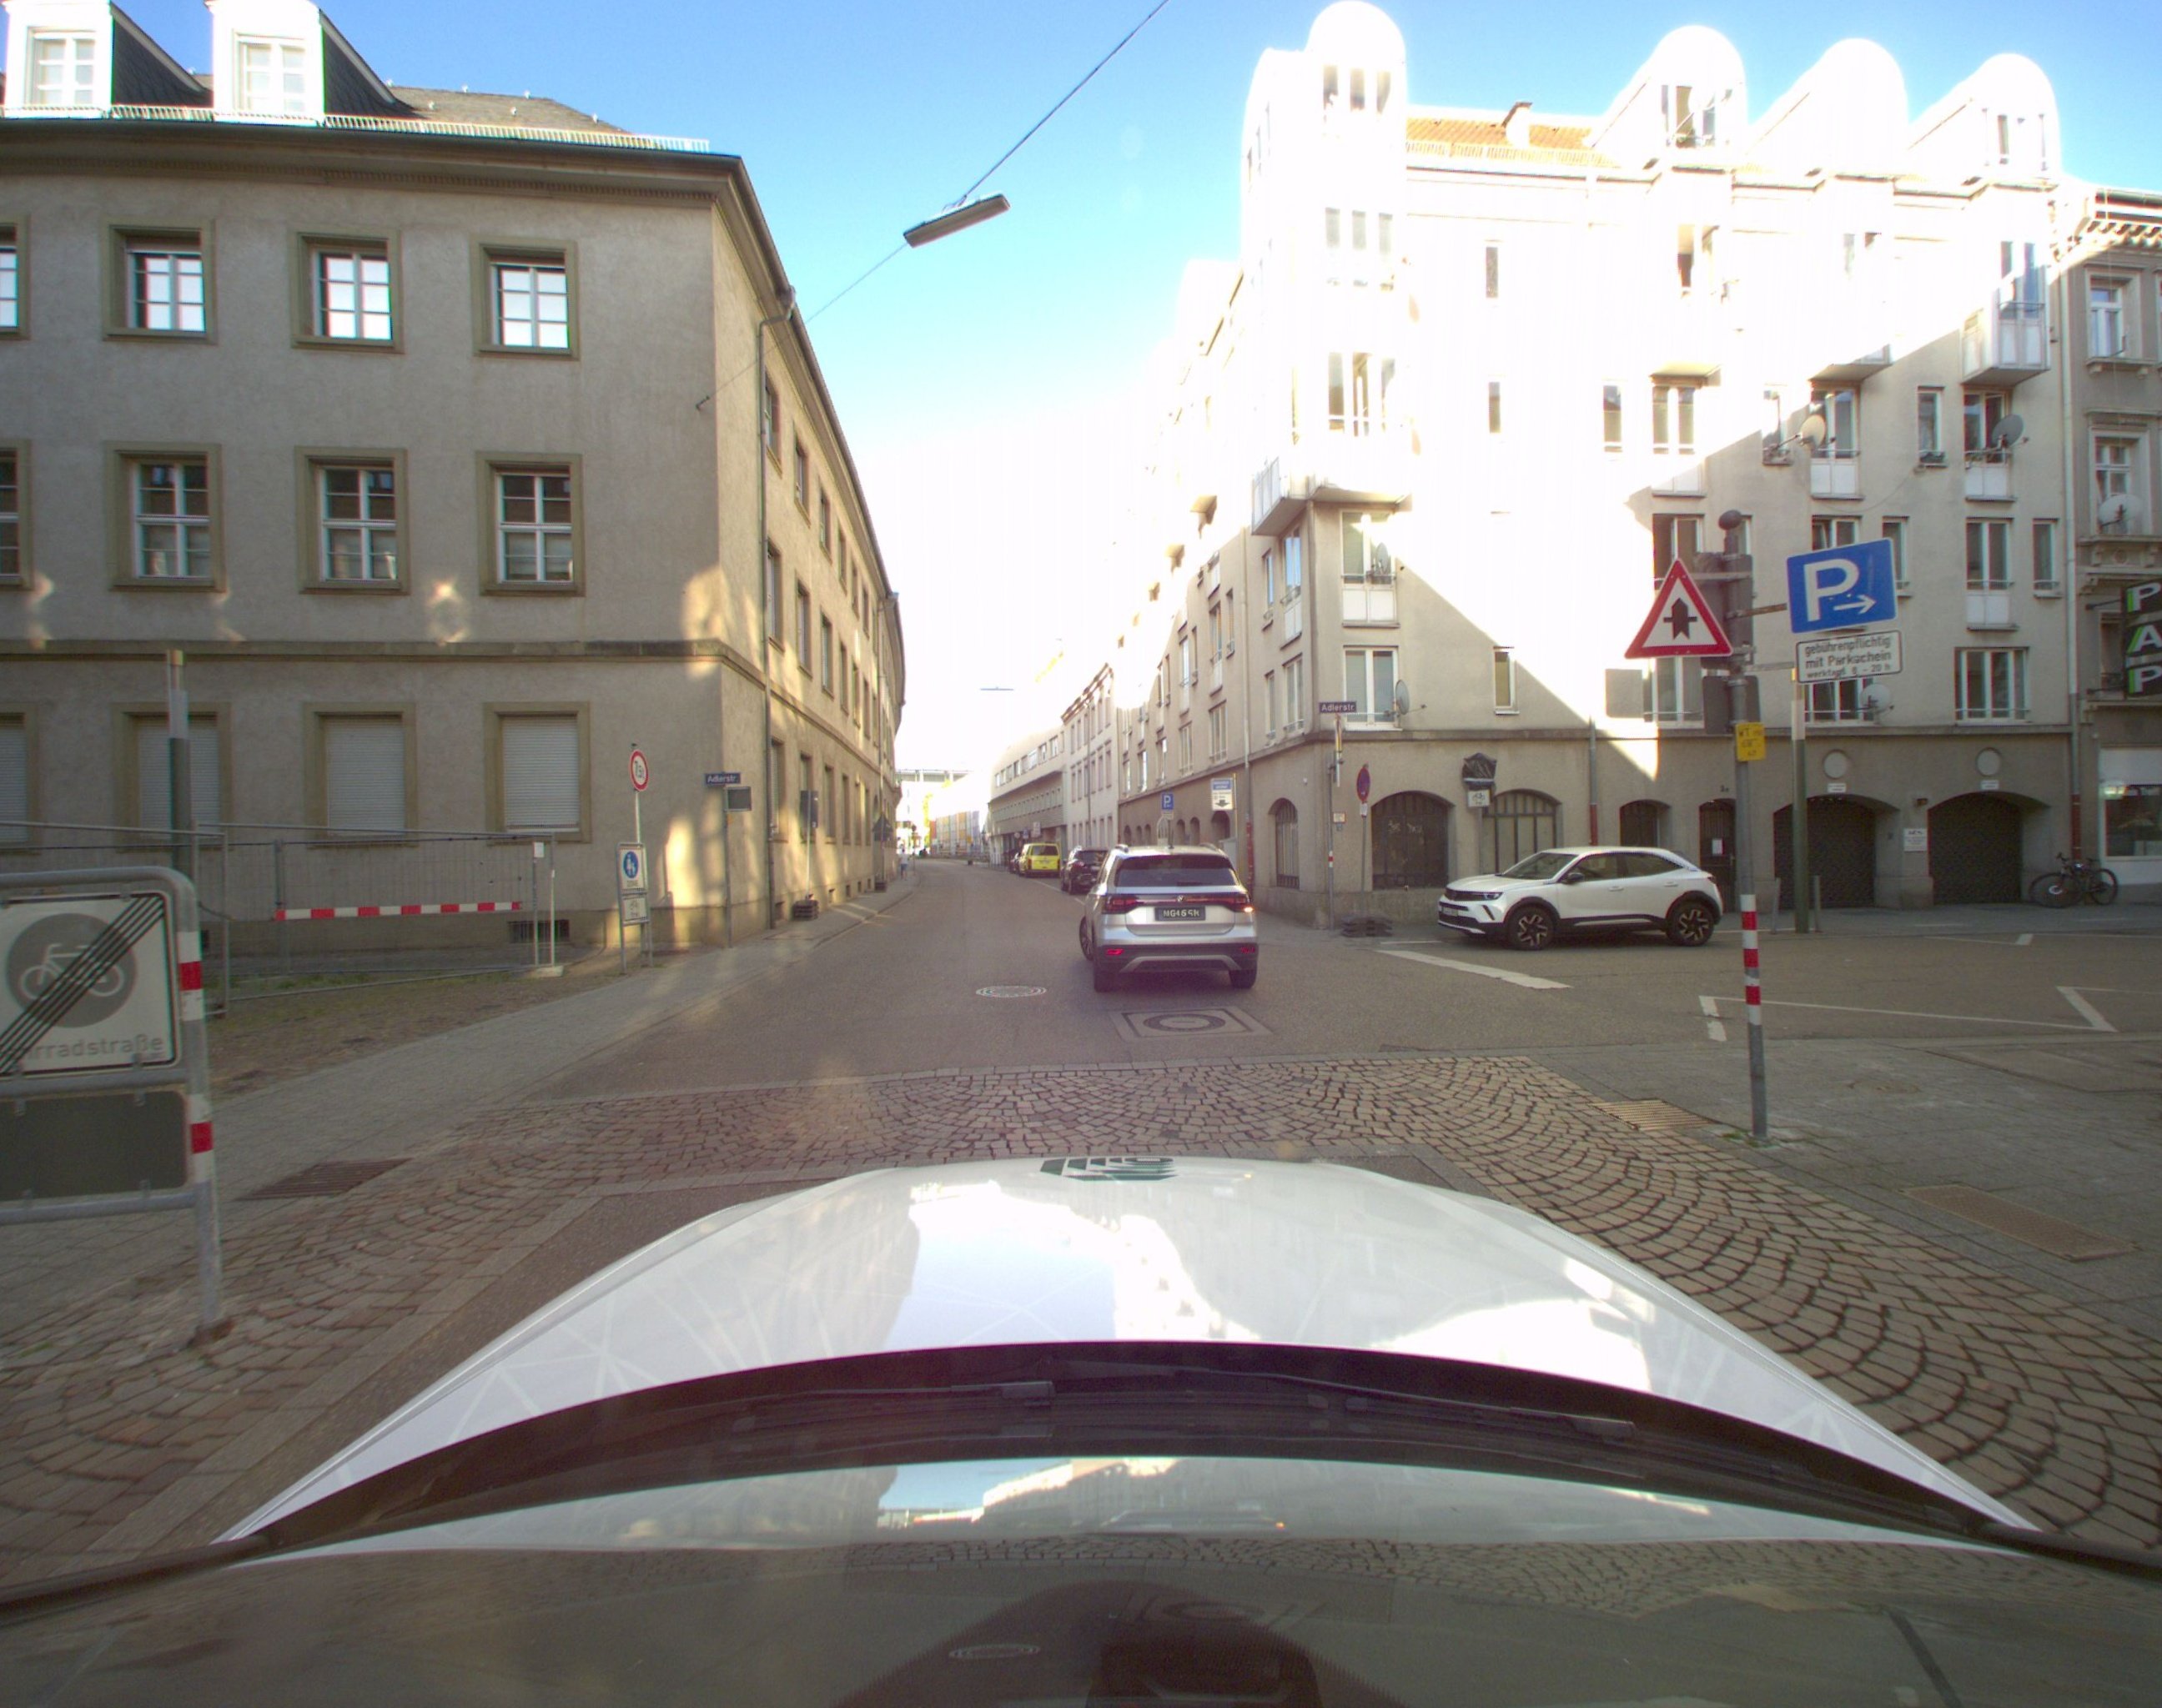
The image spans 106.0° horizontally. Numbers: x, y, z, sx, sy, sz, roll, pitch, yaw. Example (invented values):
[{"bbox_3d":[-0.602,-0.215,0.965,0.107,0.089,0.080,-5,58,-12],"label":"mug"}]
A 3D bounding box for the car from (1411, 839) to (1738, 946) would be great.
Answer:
[{"bbox_3d":[7.848,0.569,13.229,4.204,1.553,1.901,-1,0,-2],"label":"car"}]

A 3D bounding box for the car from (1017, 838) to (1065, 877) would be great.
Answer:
[{"bbox_3d":[-2.316,0.169,46.055,2.054,2.013,4.158,-1,1,-12],"label":"car"}]

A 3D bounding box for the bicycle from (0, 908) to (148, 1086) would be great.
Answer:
[{"bbox_3d":[-8.111,1.054,5.771,0.802,1.201,1.781,0,1,15],"label":"bicycle"}]

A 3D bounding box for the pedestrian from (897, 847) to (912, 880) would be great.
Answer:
[{"bbox_3d":[-9.397,0.506,43.353,0.767,1.724,0.684,-1,0,-13],"label":"pedestrian"}]

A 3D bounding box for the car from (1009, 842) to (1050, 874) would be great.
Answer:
[{"bbox_3d":[-3.340,0.219,51.837,2.054,1.873,4.084,-1,1,-12],"label":"car"}]

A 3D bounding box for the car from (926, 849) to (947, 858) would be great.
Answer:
[{"bbox_3d":[-30.954,-0.122,174.221,4.091,1.669,1.703,-2,1,-33],"label":"car"}]

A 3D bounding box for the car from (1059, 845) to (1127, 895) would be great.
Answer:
[{"bbox_3d":[0.355,0.524,29.601,1.966,1.692,4.091,0,0,-7],"label":"car"}]

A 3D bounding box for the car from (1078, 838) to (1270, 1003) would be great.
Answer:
[{"bbox_3d":[0.908,0.634,10.009,1.831,1.562,3.999,-2,1,-1],"label":"car"}]

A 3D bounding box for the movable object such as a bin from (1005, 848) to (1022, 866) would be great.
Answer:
[{"bbox_3d":[-5.827,0.255,70.270,1.134,1.558,1.730,-1,0,-15],"label":"movable object such as a bin"}]

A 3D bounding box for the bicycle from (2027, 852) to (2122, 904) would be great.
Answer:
[{"bbox_3d":[20.102,0.472,16.483,1.456,1.020,0.468,-1,0,-4],"label":"bicycle"}]

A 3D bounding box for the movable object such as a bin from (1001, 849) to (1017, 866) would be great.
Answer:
[{"bbox_3d":[-6.392,0.277,71.971,1.134,1.479,1.730,-1,0,-15],"label":"movable object such as a bin"}]

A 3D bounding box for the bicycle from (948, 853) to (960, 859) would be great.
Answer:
[{"bbox_3d":[-21.010,0.314,134.649,1.782,1.000,0.544,-1,0,-13],"label":"bicycle"}]
